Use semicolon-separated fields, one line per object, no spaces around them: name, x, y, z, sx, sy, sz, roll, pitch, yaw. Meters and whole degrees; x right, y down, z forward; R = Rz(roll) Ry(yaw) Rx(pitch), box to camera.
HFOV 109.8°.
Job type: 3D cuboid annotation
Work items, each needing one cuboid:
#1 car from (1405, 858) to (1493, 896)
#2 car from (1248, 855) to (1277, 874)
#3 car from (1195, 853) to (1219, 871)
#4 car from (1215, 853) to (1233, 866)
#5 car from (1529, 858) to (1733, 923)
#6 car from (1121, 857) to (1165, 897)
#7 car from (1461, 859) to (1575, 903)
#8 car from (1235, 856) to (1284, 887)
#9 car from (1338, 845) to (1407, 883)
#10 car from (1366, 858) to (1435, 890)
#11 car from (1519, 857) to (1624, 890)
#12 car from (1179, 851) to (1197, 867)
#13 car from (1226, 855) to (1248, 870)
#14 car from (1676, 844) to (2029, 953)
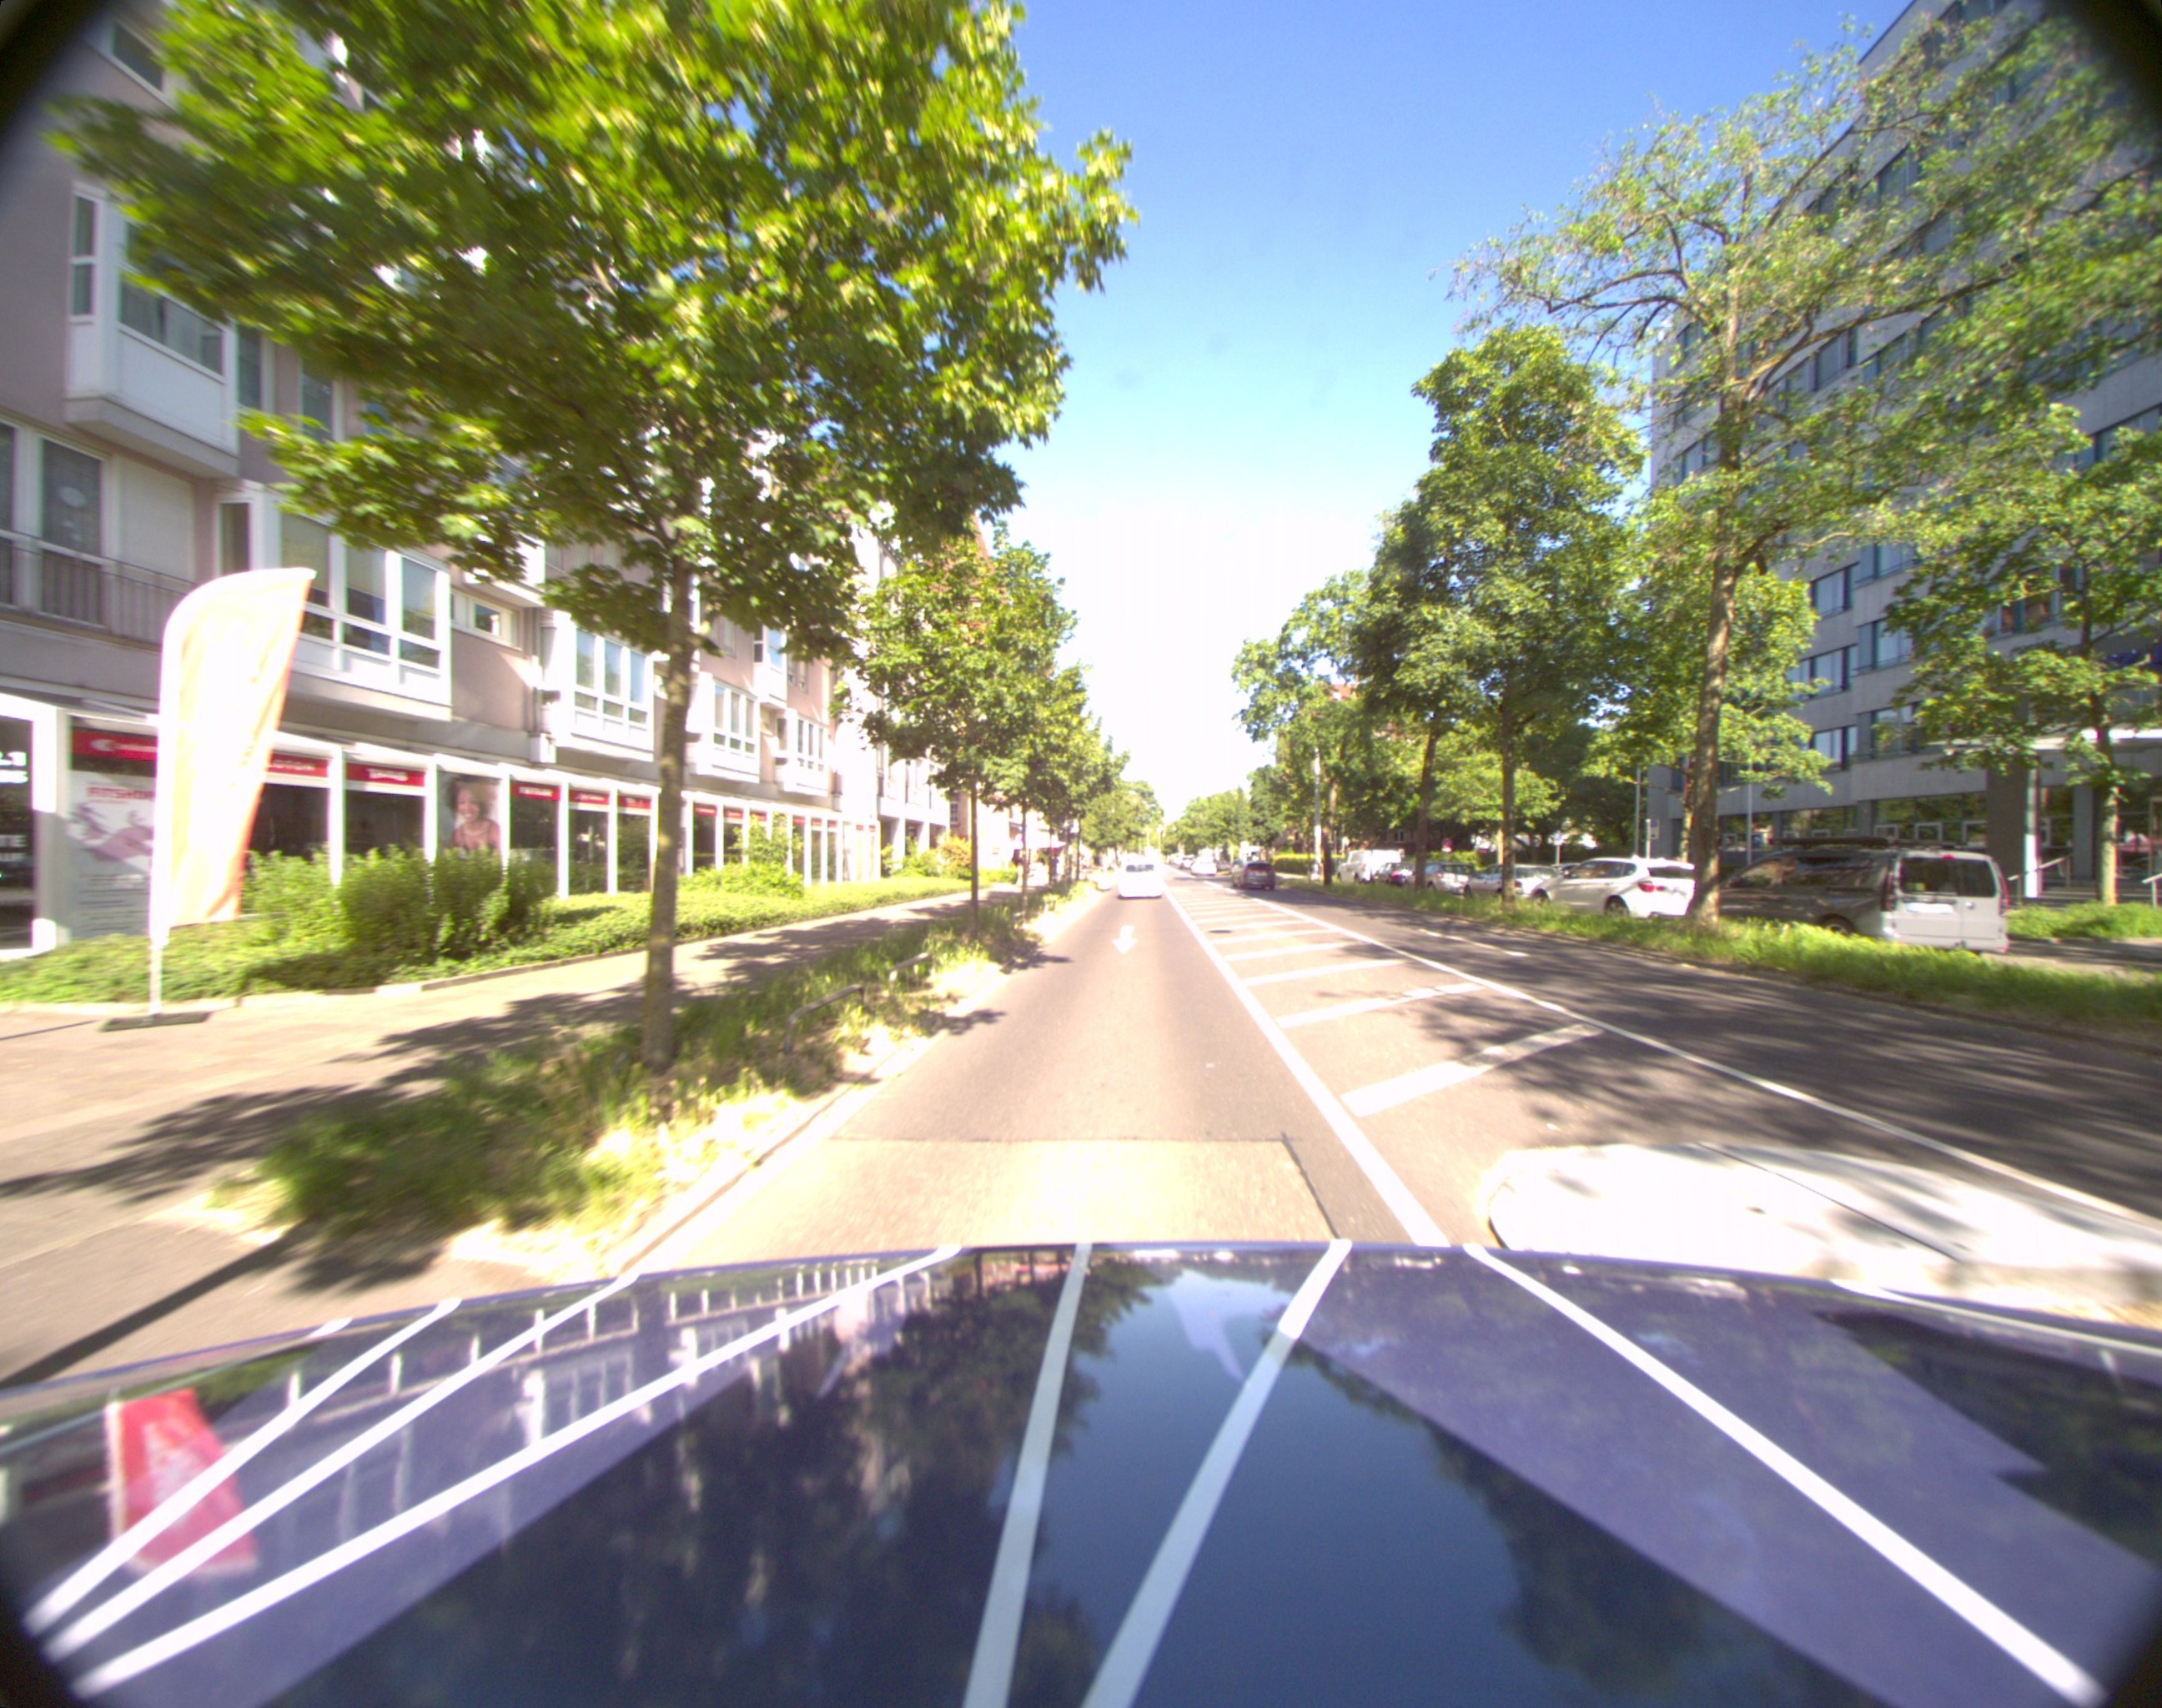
car;14.016;0.839;29.176;1.656;1.336;3.970;0;0;3
car;14.758;0.818;62.050;1.740;1.481;4.001;0;0;5
car;11.181;0.700;67.659;1.791;1.575;4.189;0;0;4
car;16.613;0.604;88.378;1.605;1.406;4.001;0;0;5
car;13.333;0.812;18.839;1.720;1.375;4.492;0;0;-1
car;2.504;0.879;30.869;1.663;1.521;4.100;0;0;4
car;13.519;0.794;23.770;1.655;1.219;3.849;0;0;6
car;9.159;0.864;39.234;1.791;1.414;4.190;1;0;4
car;15.135;0.487;39.710;2.069;1.898;4.527;0;0;3
car;14.422;0.852;34.487;1.679;1.325;4.190;0;0;5
car;24.596;0.958;38.201;3.995;1.543;1.896;0;0;6
car;14.124;0.618;100.577;2.168;2.002;4.412;0;0;6
car;14.888;0.821;72.657;1.605;1.406;4.001;0;0;5
car;12.691;0.619;13.027;1.733;1.540;4.450;0;0;4
